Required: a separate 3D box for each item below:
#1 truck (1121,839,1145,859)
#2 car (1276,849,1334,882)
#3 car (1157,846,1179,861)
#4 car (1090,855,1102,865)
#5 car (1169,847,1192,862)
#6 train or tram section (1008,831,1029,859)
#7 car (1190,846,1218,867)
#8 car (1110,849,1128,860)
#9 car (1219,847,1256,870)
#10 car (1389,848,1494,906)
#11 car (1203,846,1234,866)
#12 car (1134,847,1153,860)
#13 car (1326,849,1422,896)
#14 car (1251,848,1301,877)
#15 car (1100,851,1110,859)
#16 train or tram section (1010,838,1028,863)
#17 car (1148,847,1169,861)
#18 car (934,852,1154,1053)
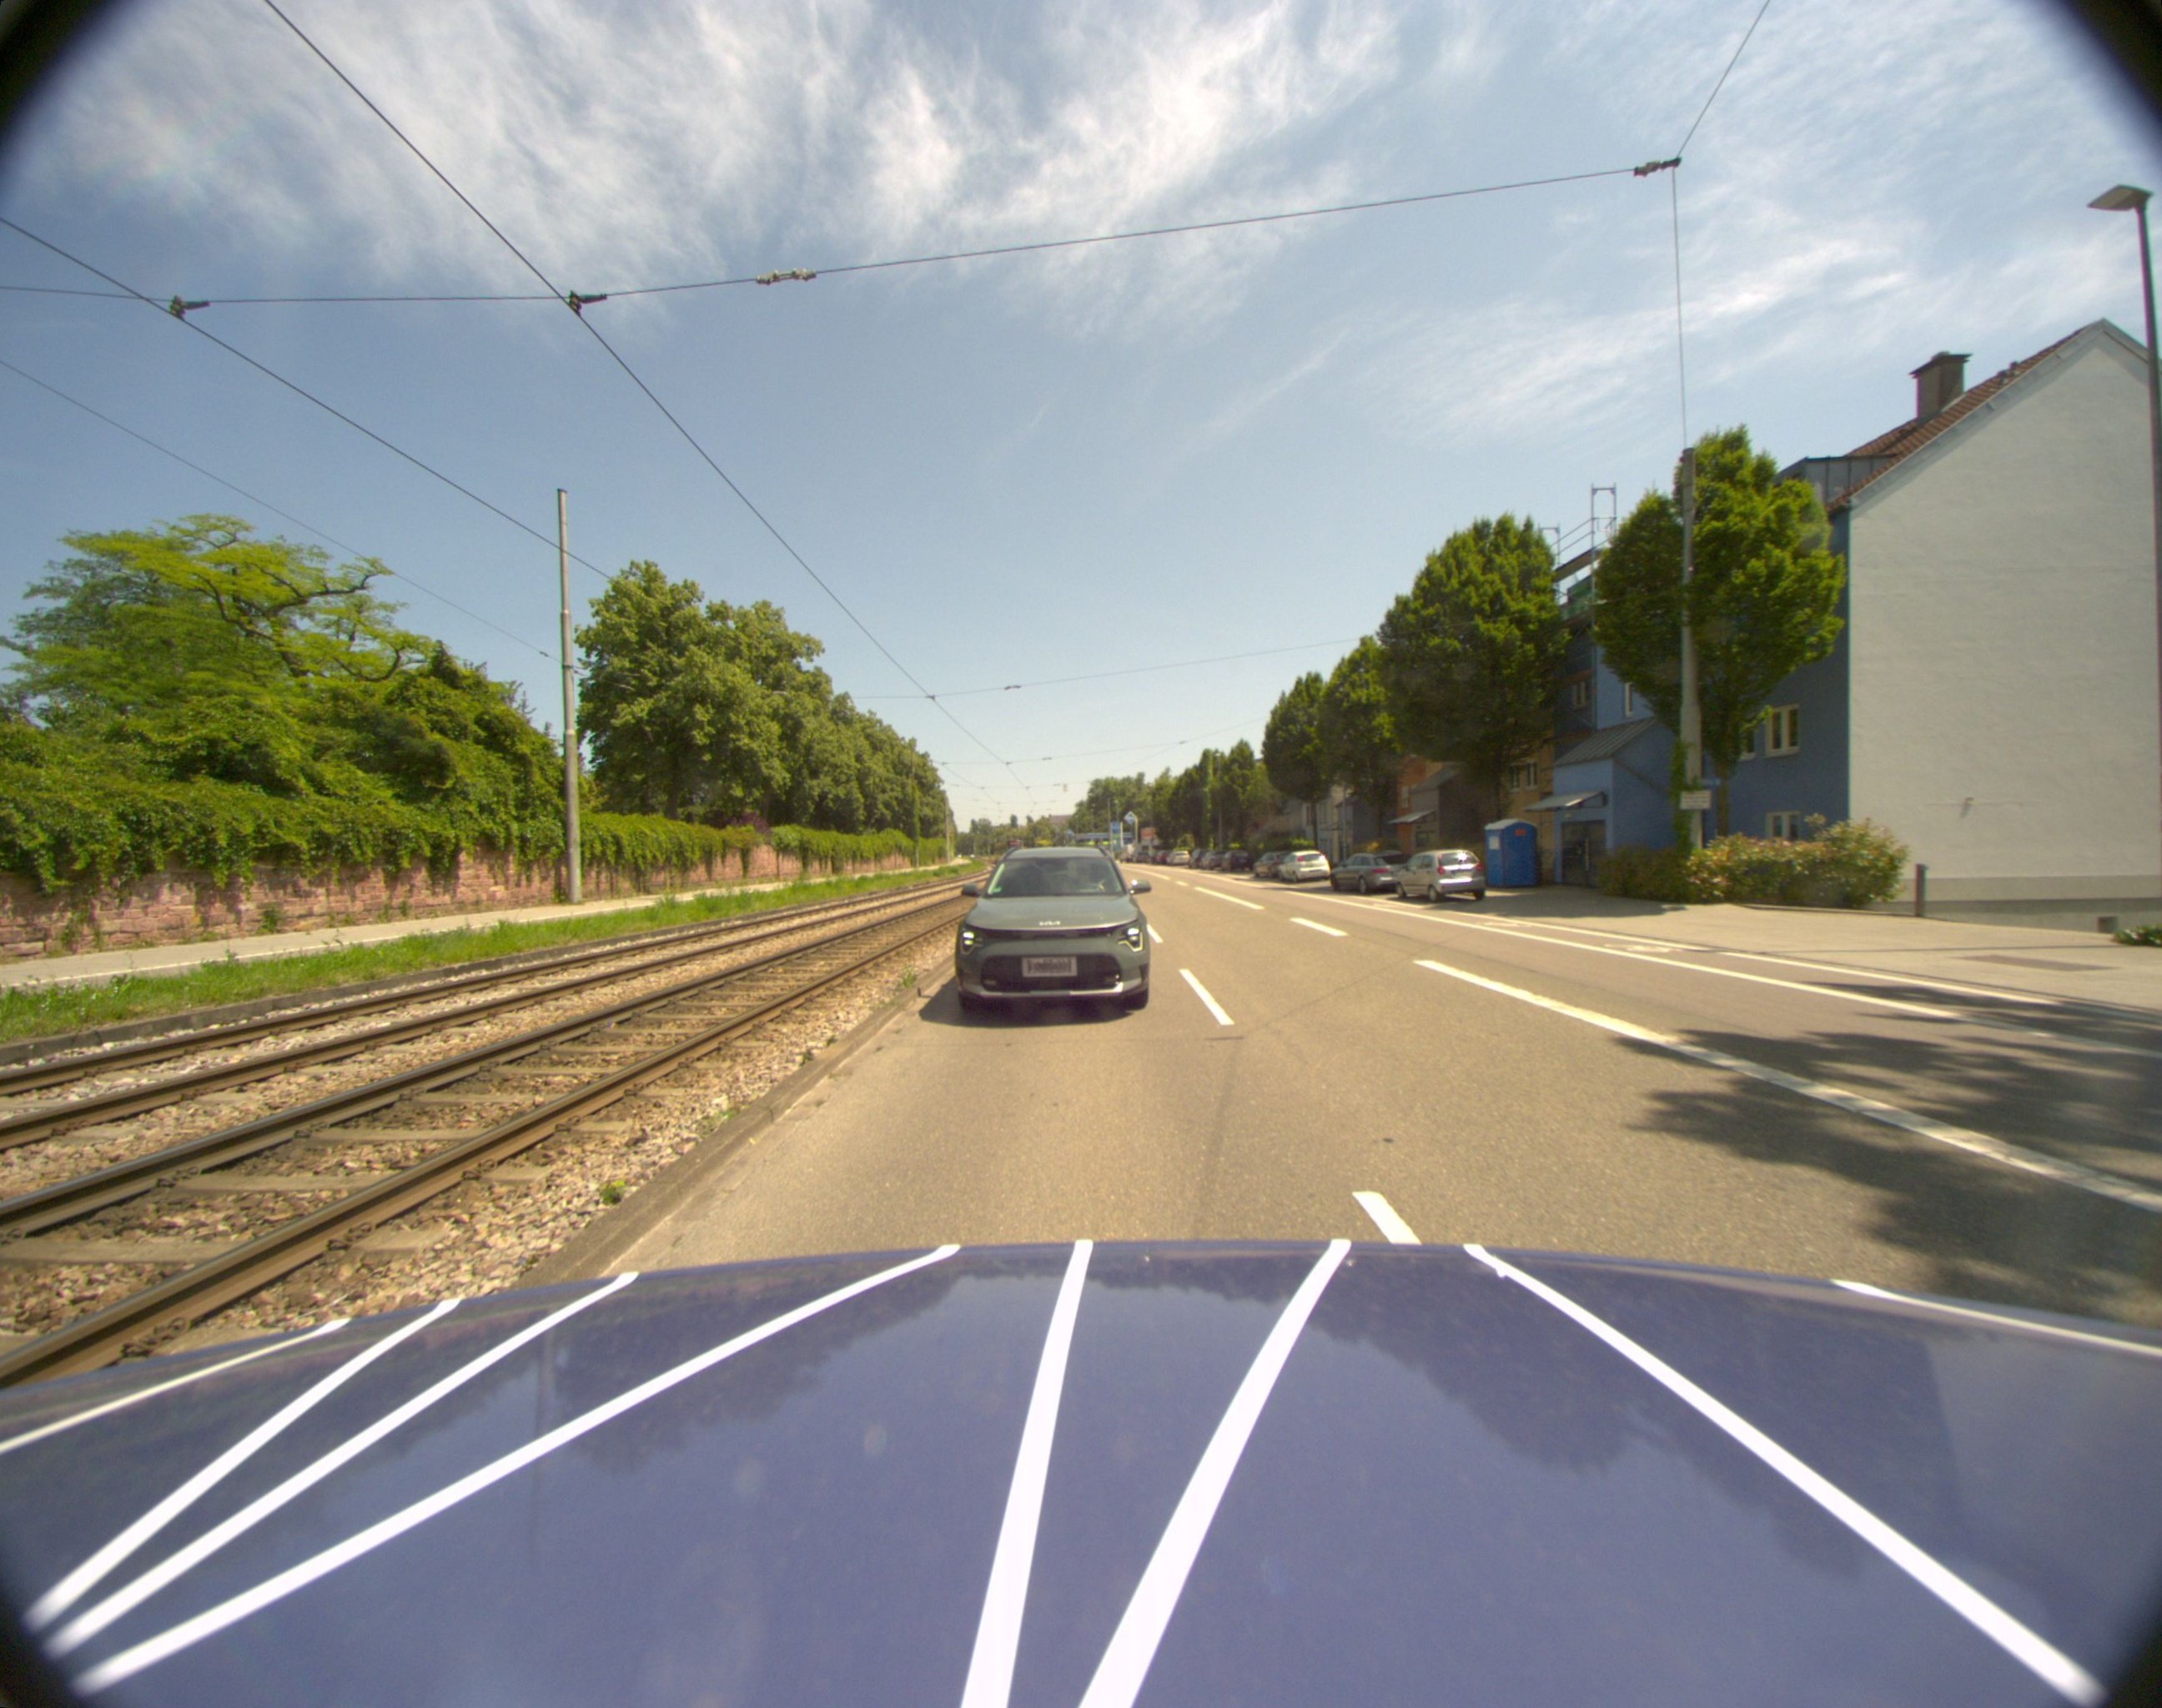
[{"bbox_3d":[7.033,-0.680,103.159,2.135,2.565,4.860,-5,1,-8],"label":"truck"},{"bbox_3d":[11.219,0.540,38.284,1.656,1.487,3.649,-5,1,-1],"label":"car"},{"bbox_3d":[9.471,-0.047,83.038,1.865,1.487,3.470,-5,1,-1],"label":"car"},{"bbox_3d":[2.642,1.053,131.069,1.865,1.487,3.470,-5,1,-1],"label":"car"},{"bbox_3d":[10.067,0.055,77.377,1.723,1.487,4.081,-1,1,-1],"label":"car"},{"bbox_3d":[-9.406,-1.372,115.244,2.814,3.785,14.253,-2,1,-5],"label":"train or tram section"},{"bbox_3d":[10.643,0.190,65.888,1.656,1.578,4.081,-5,1,-1],"label":"car"},{"bbox_3d":[5.722,0.025,114.884,1.866,1.487,3.468,-5,1,-8],"label":"car"},{"bbox_3d":[11.302,0.267,55.068,1.656,1.487,4.081,-5,1,-1],"label":"car"},{"bbox_3d":[10.931,0.634,23.281,1.505,1.487,3.281,-6,1,-1],"label":"car"},{"bbox_3d":[10.758,0.154,59.832,1.656,1.487,4.081,-1,1,-1],"label":"car"},{"bbox_3d":[7.929,-0.078,97.063,1.865,1.487,3.469,-1,1,-4],"label":"car"},{"bbox_3d":[10.822,0.609,28.449,1.680,1.487,4.638,-5,1,-1],"label":"car"},{"bbox_3d":[11.178,0.442,43.761,1.656,1.487,4.081,-5,1,-1],"label":"car"},{"bbox_3d":[4.734,0.192,152.104,1.865,1.487,3.469,-1,1,-2],"label":"car"},{"bbox_3d":[-10.518,-0.671,129.498,2.784,3.789,14.253,-2,1,-4],"label":"train or tram section"},{"bbox_3d":[8.959,-0.022,87.872,1.865,1.487,3.469,-1,1,-4],"label":"car"},{"bbox_3d":[-0.286,0.805,8.463,1.759,1.574,4.426,-2,1,0],"label":"car"}]
